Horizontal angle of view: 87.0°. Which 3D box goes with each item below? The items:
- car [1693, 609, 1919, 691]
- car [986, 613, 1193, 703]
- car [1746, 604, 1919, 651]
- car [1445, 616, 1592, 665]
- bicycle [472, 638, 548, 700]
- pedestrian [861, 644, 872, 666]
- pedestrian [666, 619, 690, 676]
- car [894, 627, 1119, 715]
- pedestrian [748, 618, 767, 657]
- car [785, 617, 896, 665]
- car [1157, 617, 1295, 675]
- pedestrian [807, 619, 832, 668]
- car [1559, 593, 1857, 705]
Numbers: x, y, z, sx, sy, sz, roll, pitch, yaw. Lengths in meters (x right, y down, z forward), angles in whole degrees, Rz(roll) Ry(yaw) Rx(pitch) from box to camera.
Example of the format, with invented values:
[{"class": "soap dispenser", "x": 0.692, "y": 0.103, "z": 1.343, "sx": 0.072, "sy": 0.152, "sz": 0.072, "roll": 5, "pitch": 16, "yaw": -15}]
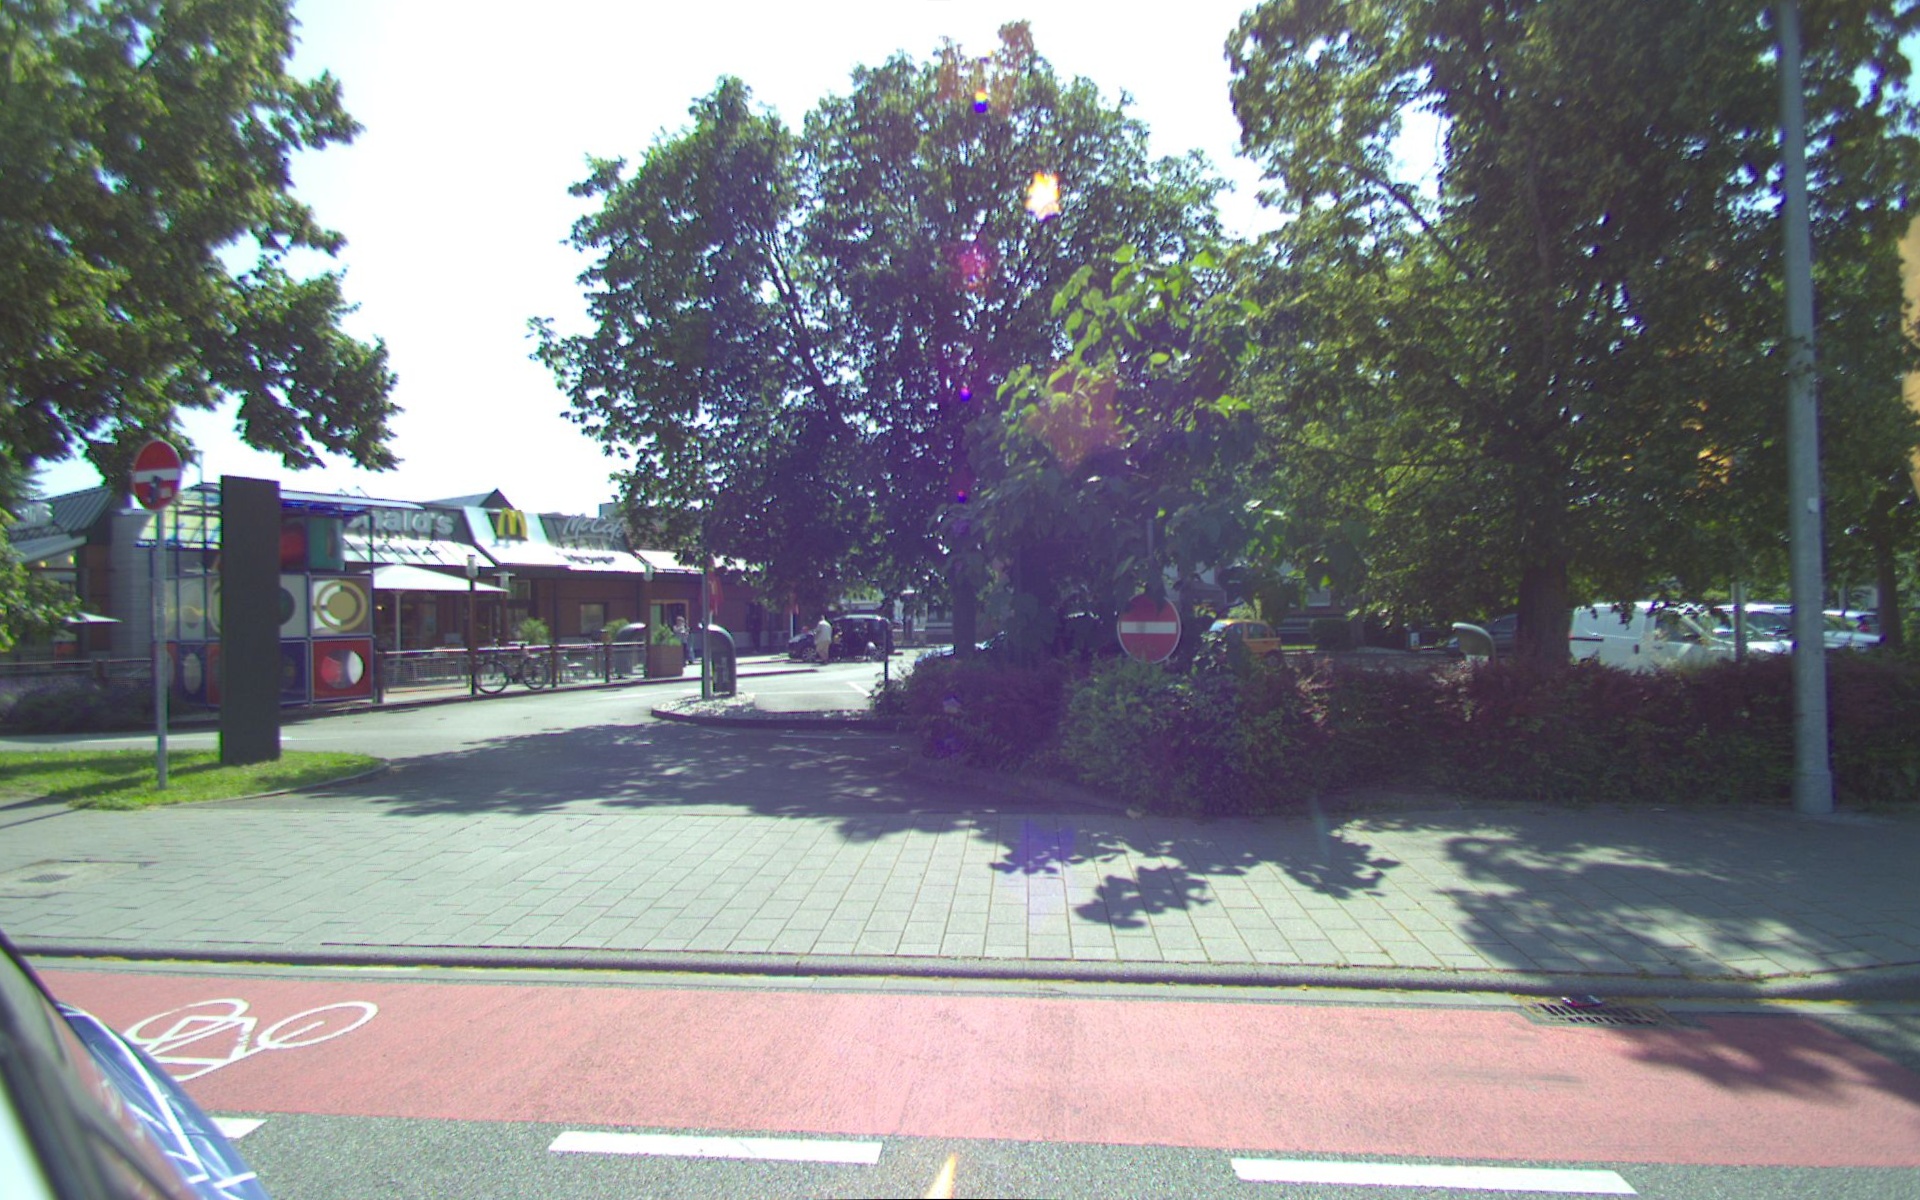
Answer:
[{"class": "car", "x": 18.586, "y": 1.016, "z": 22.109, "sx": 1.873, "sy": 1.595, "sz": 3.821, "roll": -1, "pitch": -1, "yaw": -14}, {"class": "car", "x": 2.852, "y": 1.211, "z": 22.351, "sx": 4.155, "sy": 1.812, "sz": 1.765, "roll": -1, "pitch": -1, "yaw": -19}, {"class": "car", "x": 28.686, "y": 0.874, "z": 33.456, "sx": 1.765, "sy": 1.461, "sz": 4.057, "roll": -1, "pitch": -1, "yaw": -12}, {"class": "car", "x": 18.484, "y": 1.316, "z": 33.696, "sx": 4.150, "sy": 1.529, "sz": 1.749, "roll": -1, "pitch": -1, "yaw": 26}, {"class": "bicycle", "x": -9.773, "y": 1.483, "z": 22.032, "sx": 0.309, "sy": 1.195, "sz": 1.593, "roll": 1, "pitch": 2, "yaw": 34}, {"class": "pedestrian", "x": -3.334, "y": 1.952, "z": 36.136, "sx": 0.359, "sy": 0.785, "sz": 0.336, "roll": 0, "pitch": -1, "yaw": -7}, {"class": "pedestrian", "x": -7.968, "y": 1.335, "z": 28.605, "sx": 0.587, "sy": 1.579, "sz": 0.572, "roll": -1, "pitch": -1, "yaw": -9}, {"class": "car", "x": 0.860, "y": 1.298, "z": 19.317, "sx": 3.931, "sy": 1.505, "sz": 1.661, "roll": 0, "pitch": -1, "yaw": -19}, {"class": "pedestrian", "x": -8.831, "y": 1.636, "z": 44.096, "sx": 0.540, "sy": 1.664, "sz": 0.616, "roll": -2, "pitch": -2, "yaw": 32}, {"class": "car", "x": -4.391, "y": 1.482, "z": 37.239, "sx": 3.938, "sy": 1.670, "sz": 1.959, "roll": 0, "pitch": -2, "yaw": -7}, {"class": "car", "x": 8.085, "y": 1.365, "z": 30.877, "sx": 3.664, "sy": 1.644, "sz": 1.672, "roll": -1, "pitch": -1, "yaw": -10}, {"class": "pedestrian", "x": -4.875, "y": 1.506, "z": 35.174, "sx": 0.820, "sy": 1.650, "sz": 0.790, "roll": 0, "pitch": -1, "yaw": -7}, {"class": "car", "x": 14.001, "y": 0.881, "z": 19.313, "sx": 1.719, "sy": 1.841, "sz": 4.366, "roll": -1, "pitch": -1, "yaw": -16}]
